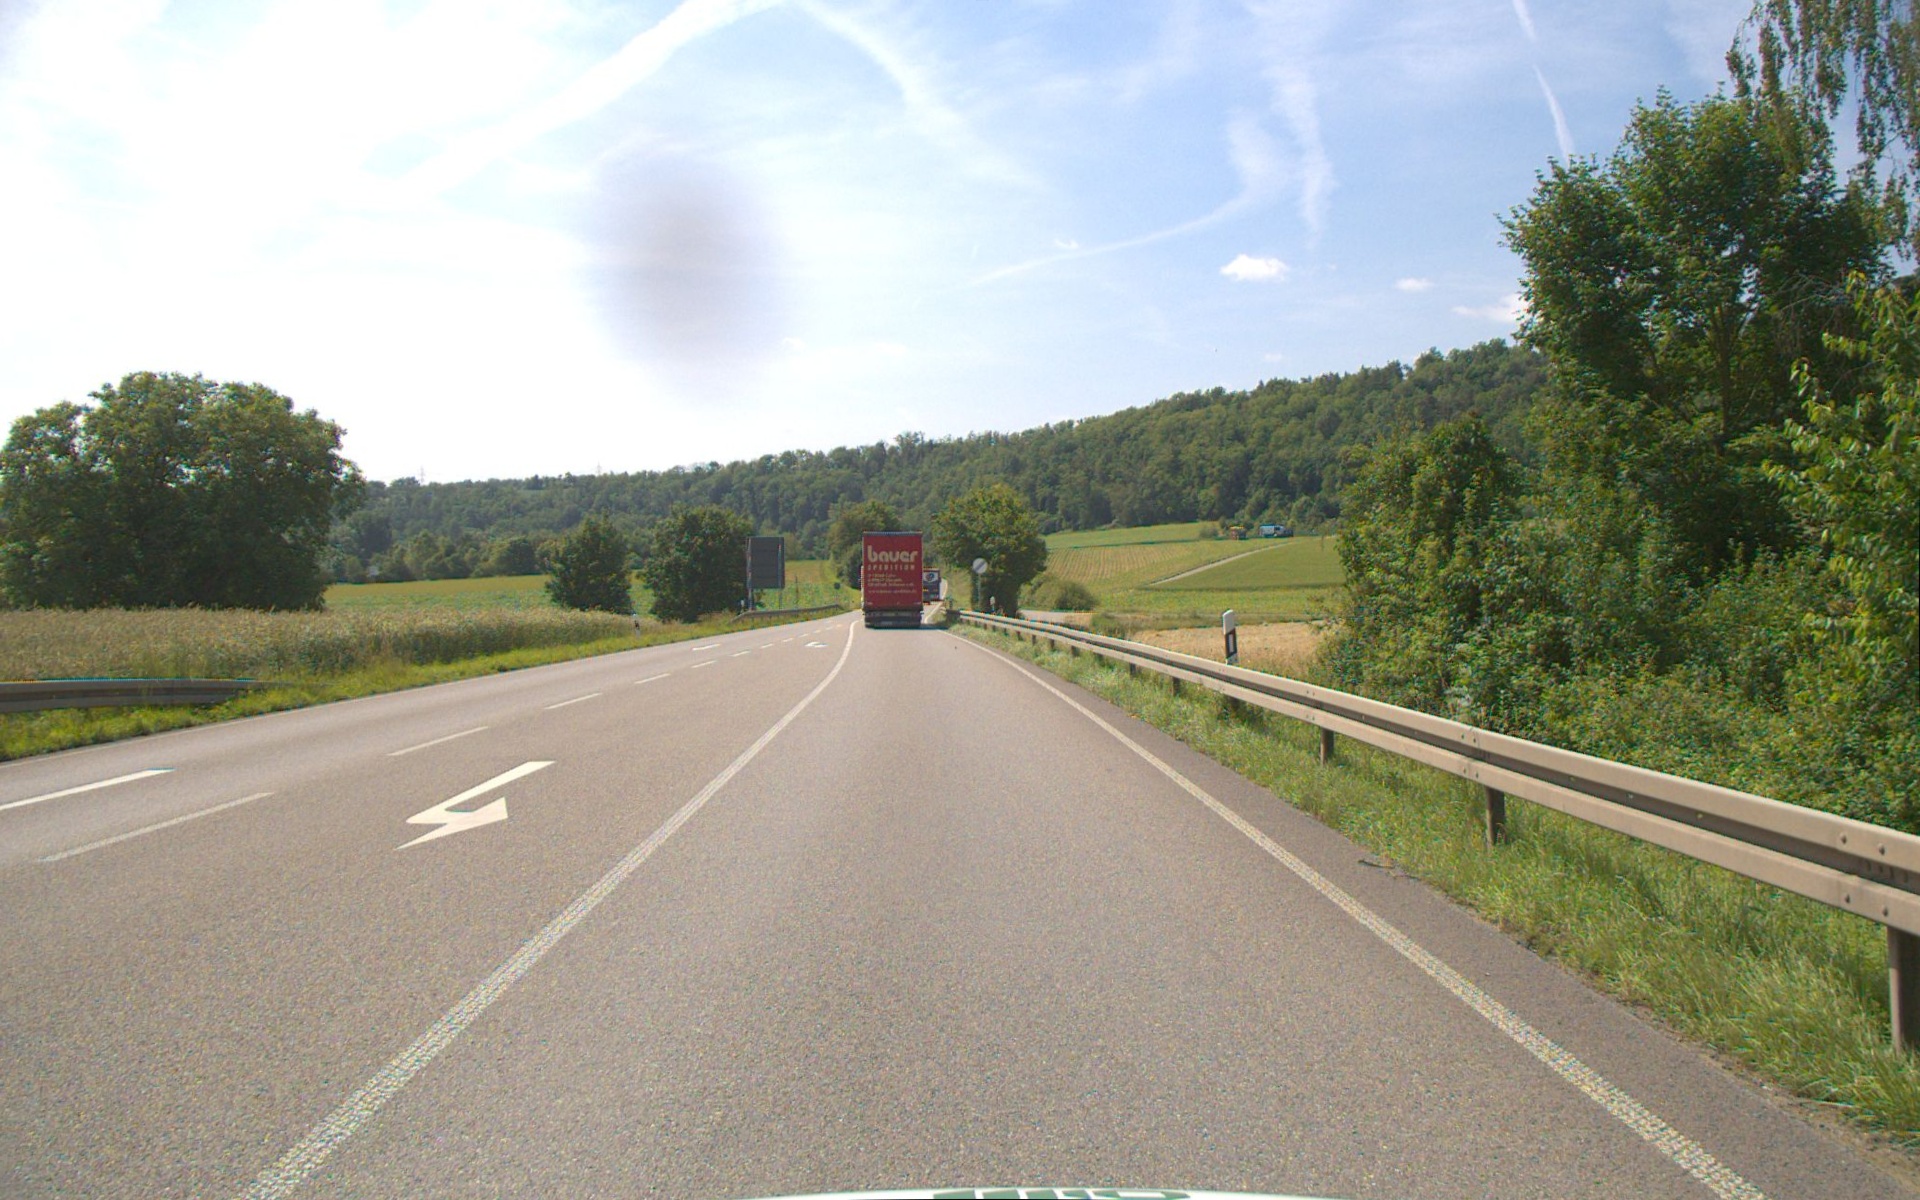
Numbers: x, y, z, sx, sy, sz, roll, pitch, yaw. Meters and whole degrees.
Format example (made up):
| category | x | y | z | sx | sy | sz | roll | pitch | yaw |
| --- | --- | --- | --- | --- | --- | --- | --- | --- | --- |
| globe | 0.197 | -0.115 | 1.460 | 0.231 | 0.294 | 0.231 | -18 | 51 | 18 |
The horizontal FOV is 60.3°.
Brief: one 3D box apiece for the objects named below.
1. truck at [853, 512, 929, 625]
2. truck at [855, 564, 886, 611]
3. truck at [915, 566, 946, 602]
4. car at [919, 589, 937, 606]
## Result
| category | x | y | z | sx | sy | sz | roll | pitch | yaw |
| --- | --- | --- | --- | --- | --- | --- | --- | --- | --- |
| truck | -3.128 | -1.378 | 75.359 | 3.108 | 4.706 | 13.538 | 0 | 1 | -2 |
| truck | -8.303 | -1.163 | 154.449 | 2.478 | 4.191 | 6.020 | -2 | 0 | -1 |
| truck | -3.919 | -2.012 | 217.096 | 3.826 | 4.446 | 13.289 | 2 | 0 | -1 |
| car | -3.636 | -0.304 | 186.447 | 1.953 | 1.841 | 3.998 | 3 | 0 | -2 |
